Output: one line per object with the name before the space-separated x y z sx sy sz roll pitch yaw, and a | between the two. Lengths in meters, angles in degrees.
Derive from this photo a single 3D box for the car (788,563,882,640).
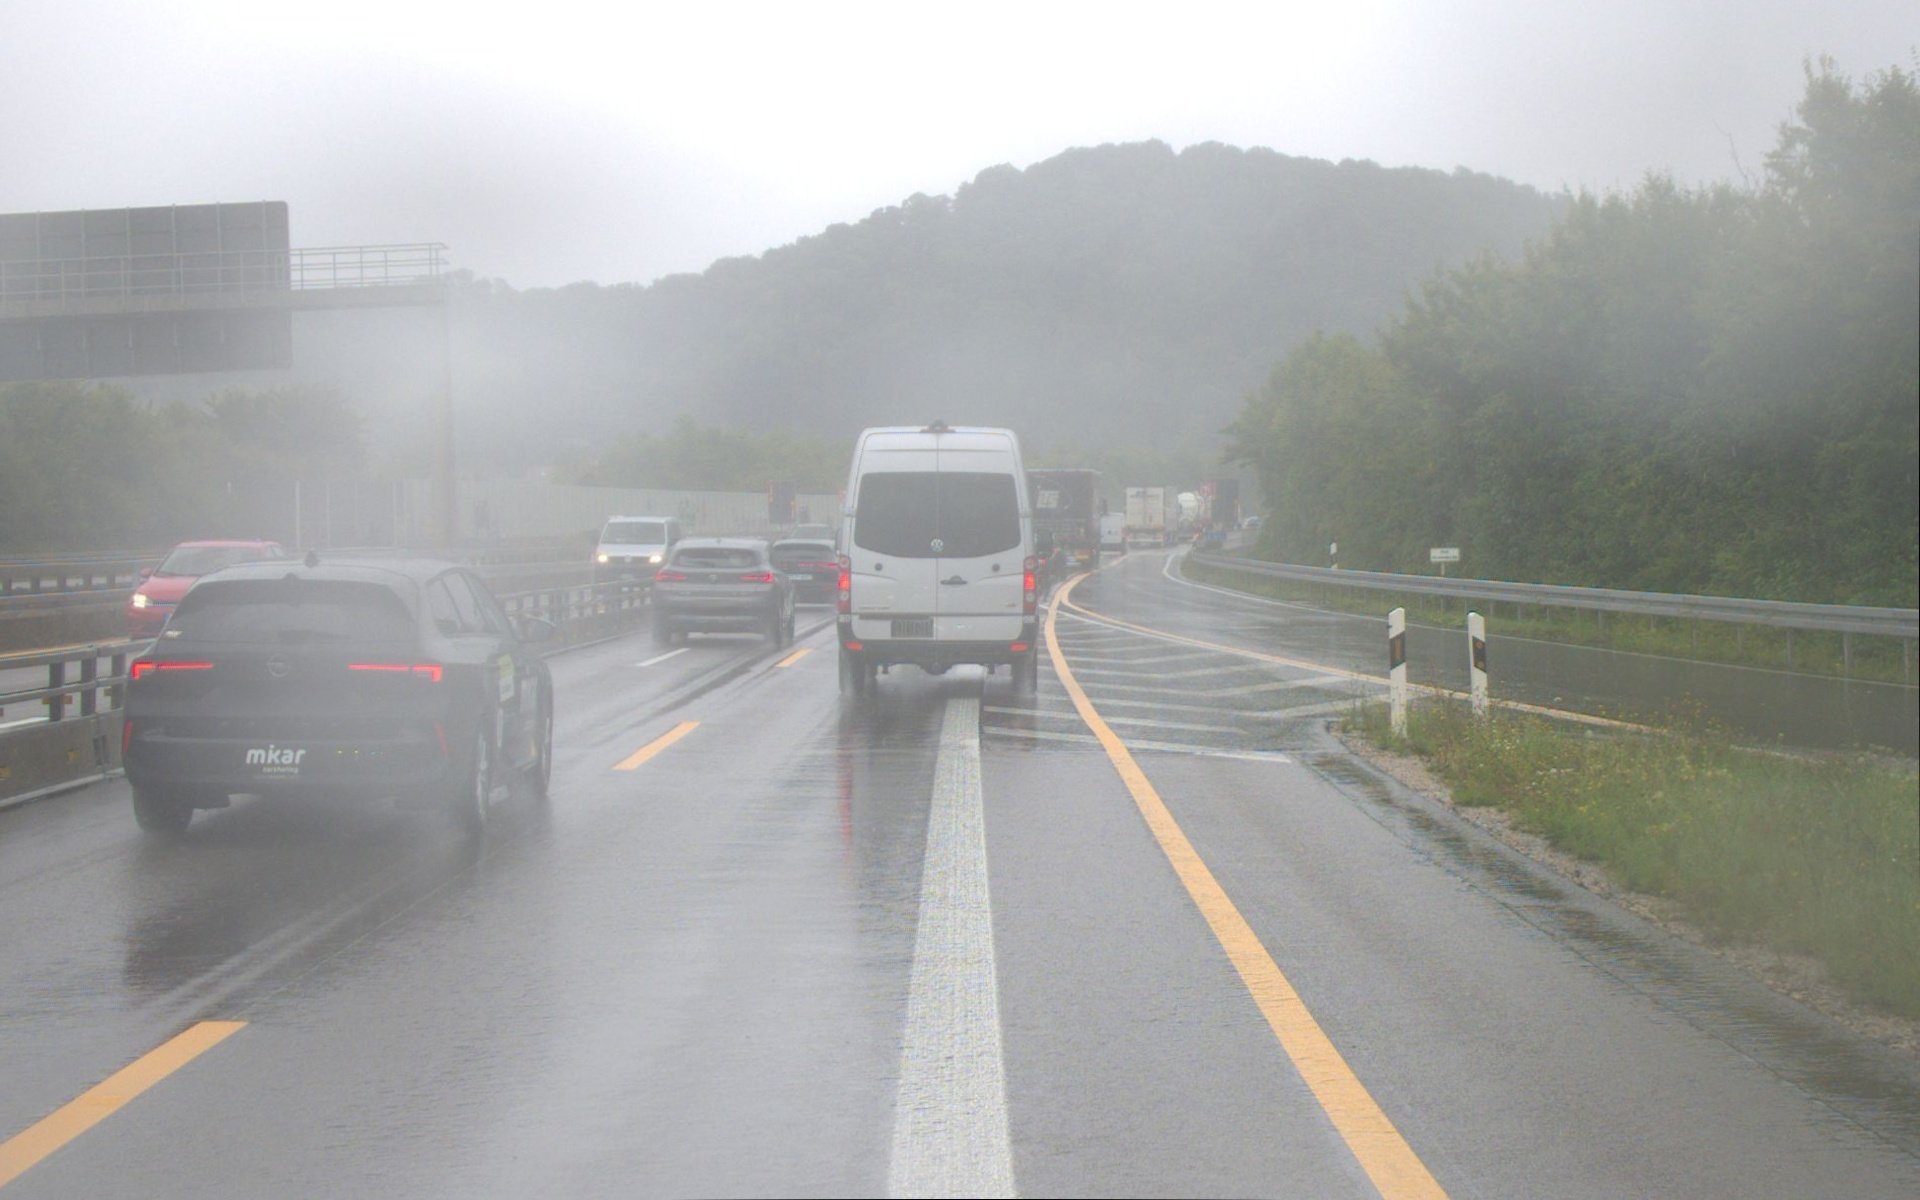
car | -2.518 0.006 69.551 1.852 1.495 4.000 0 1 -2

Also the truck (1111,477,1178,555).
truck | 11.893 -5.348 221.206 3.929 4.768 9.905 1 0 5

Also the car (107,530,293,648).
car | -10.351 -0.161 47.080 1.608 1.499 4.217 1 0 0

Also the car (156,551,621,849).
car | -2.993 0.454 18.992 1.938 1.422 4.761 1 1 -2

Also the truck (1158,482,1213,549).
truck | 17.094 -6.354 259.990 3.929 4.768 9.905 1 0 5

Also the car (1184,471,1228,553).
car | 12.798 -4.556 179.222 2.058 4.177 6.746 0 1 2

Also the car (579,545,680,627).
car | -8.468 -0.372 88.463 1.908 2.007 5.828 1 0 1

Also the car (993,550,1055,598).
car | 1.702 -0.707 92.016 1.384 1.252 3.123 0 1 -4

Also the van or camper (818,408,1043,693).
van or camper | -0.295 -0.500 35.087 2.139 2.712 4.648 0 1 0

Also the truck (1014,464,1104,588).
truck | 3.959 -2.945 139.688 3.320 4.768 9.907 1 0 0

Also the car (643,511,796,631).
car | -3.409 -0.424 49.426 1.867 1.653 3.988 0 1 1

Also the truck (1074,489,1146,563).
truck | 7.879 -3.862 181.930 3.320 3.749 9.907 1 0 0

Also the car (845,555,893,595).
car | -2.475 -0.692 93.879 1.262 1.074 3.255 0 1 0
